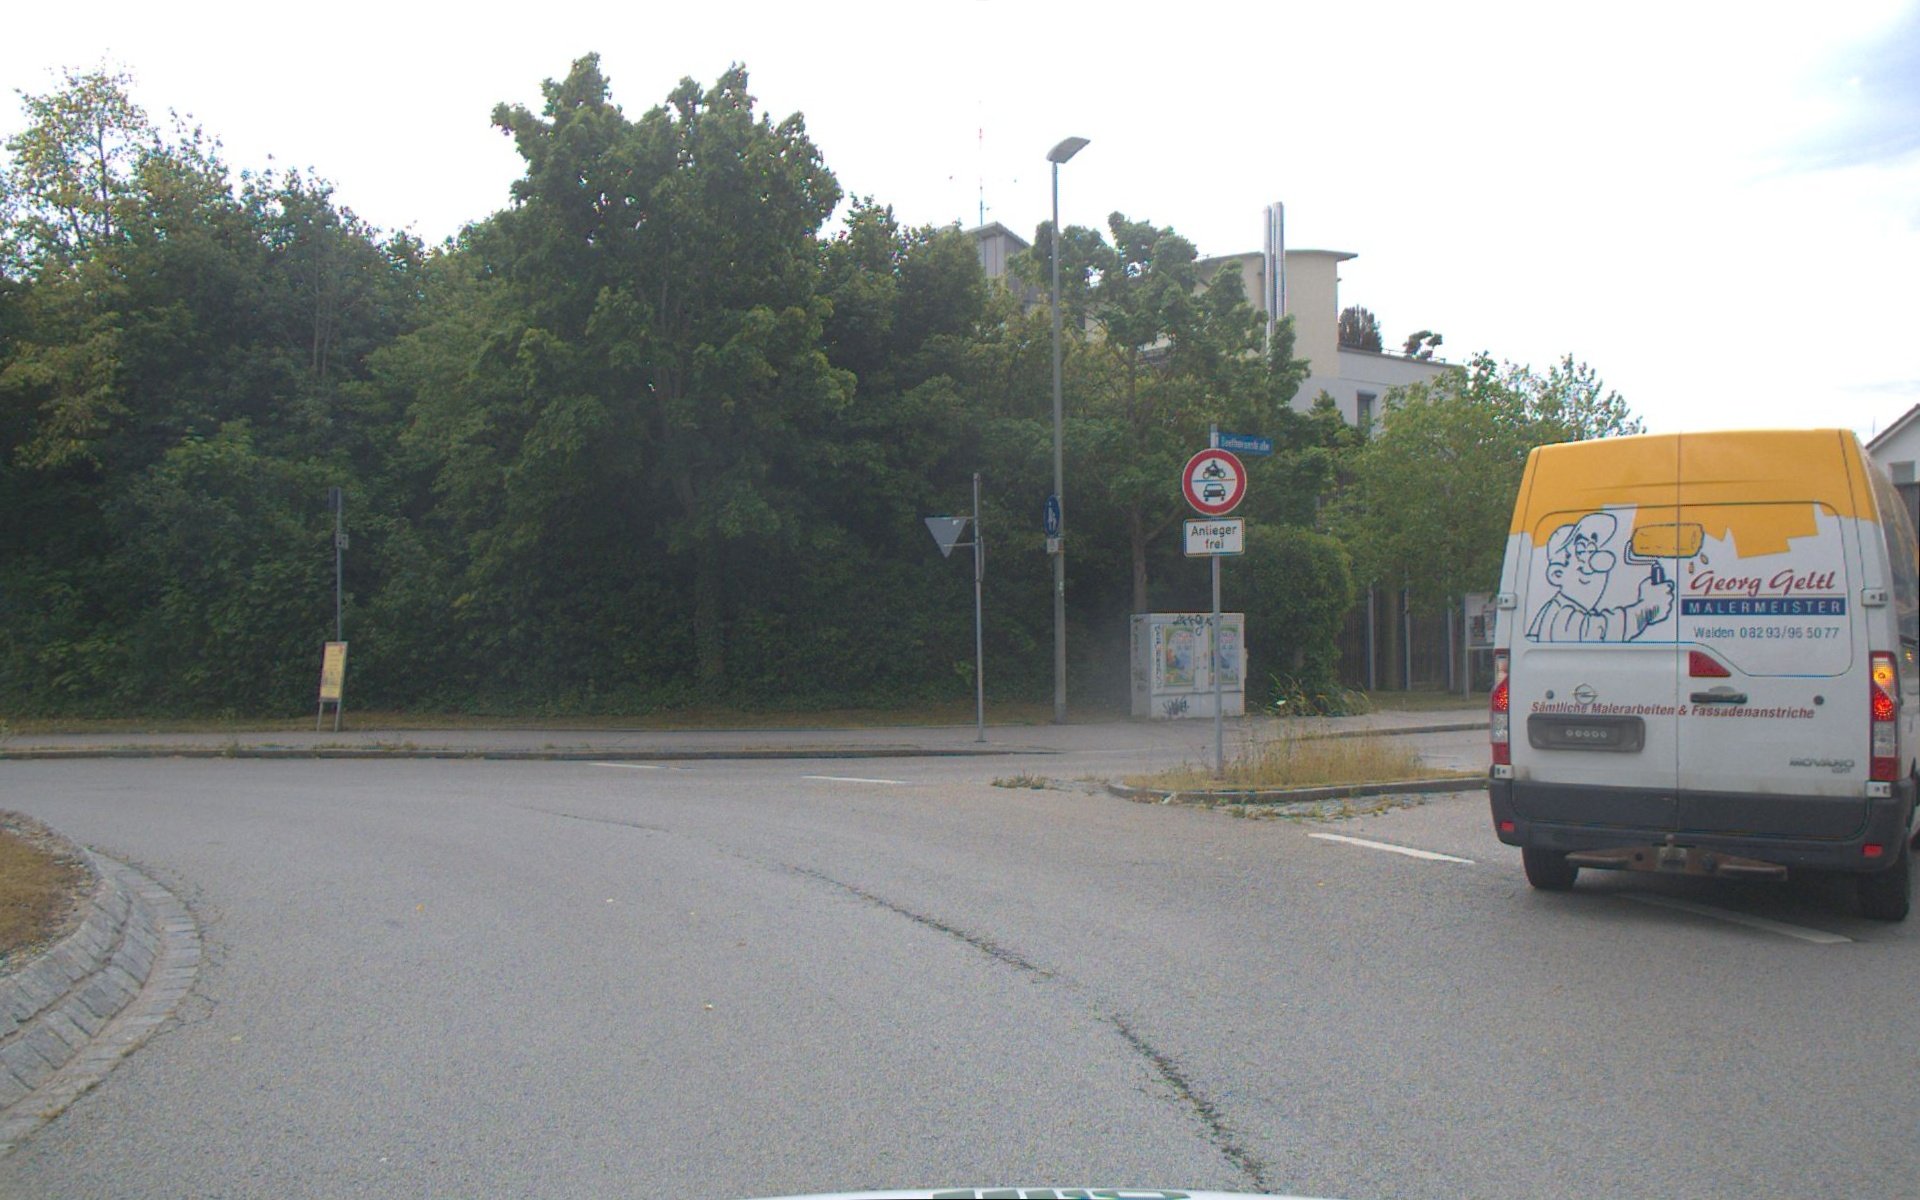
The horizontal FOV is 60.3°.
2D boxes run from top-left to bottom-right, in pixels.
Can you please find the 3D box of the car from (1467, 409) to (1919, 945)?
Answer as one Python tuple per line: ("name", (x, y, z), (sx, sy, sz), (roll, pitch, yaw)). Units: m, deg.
("car", (5.066, 0.409, 10.567), (2.124, 2.495, 5.426), (0, -1, 33))
